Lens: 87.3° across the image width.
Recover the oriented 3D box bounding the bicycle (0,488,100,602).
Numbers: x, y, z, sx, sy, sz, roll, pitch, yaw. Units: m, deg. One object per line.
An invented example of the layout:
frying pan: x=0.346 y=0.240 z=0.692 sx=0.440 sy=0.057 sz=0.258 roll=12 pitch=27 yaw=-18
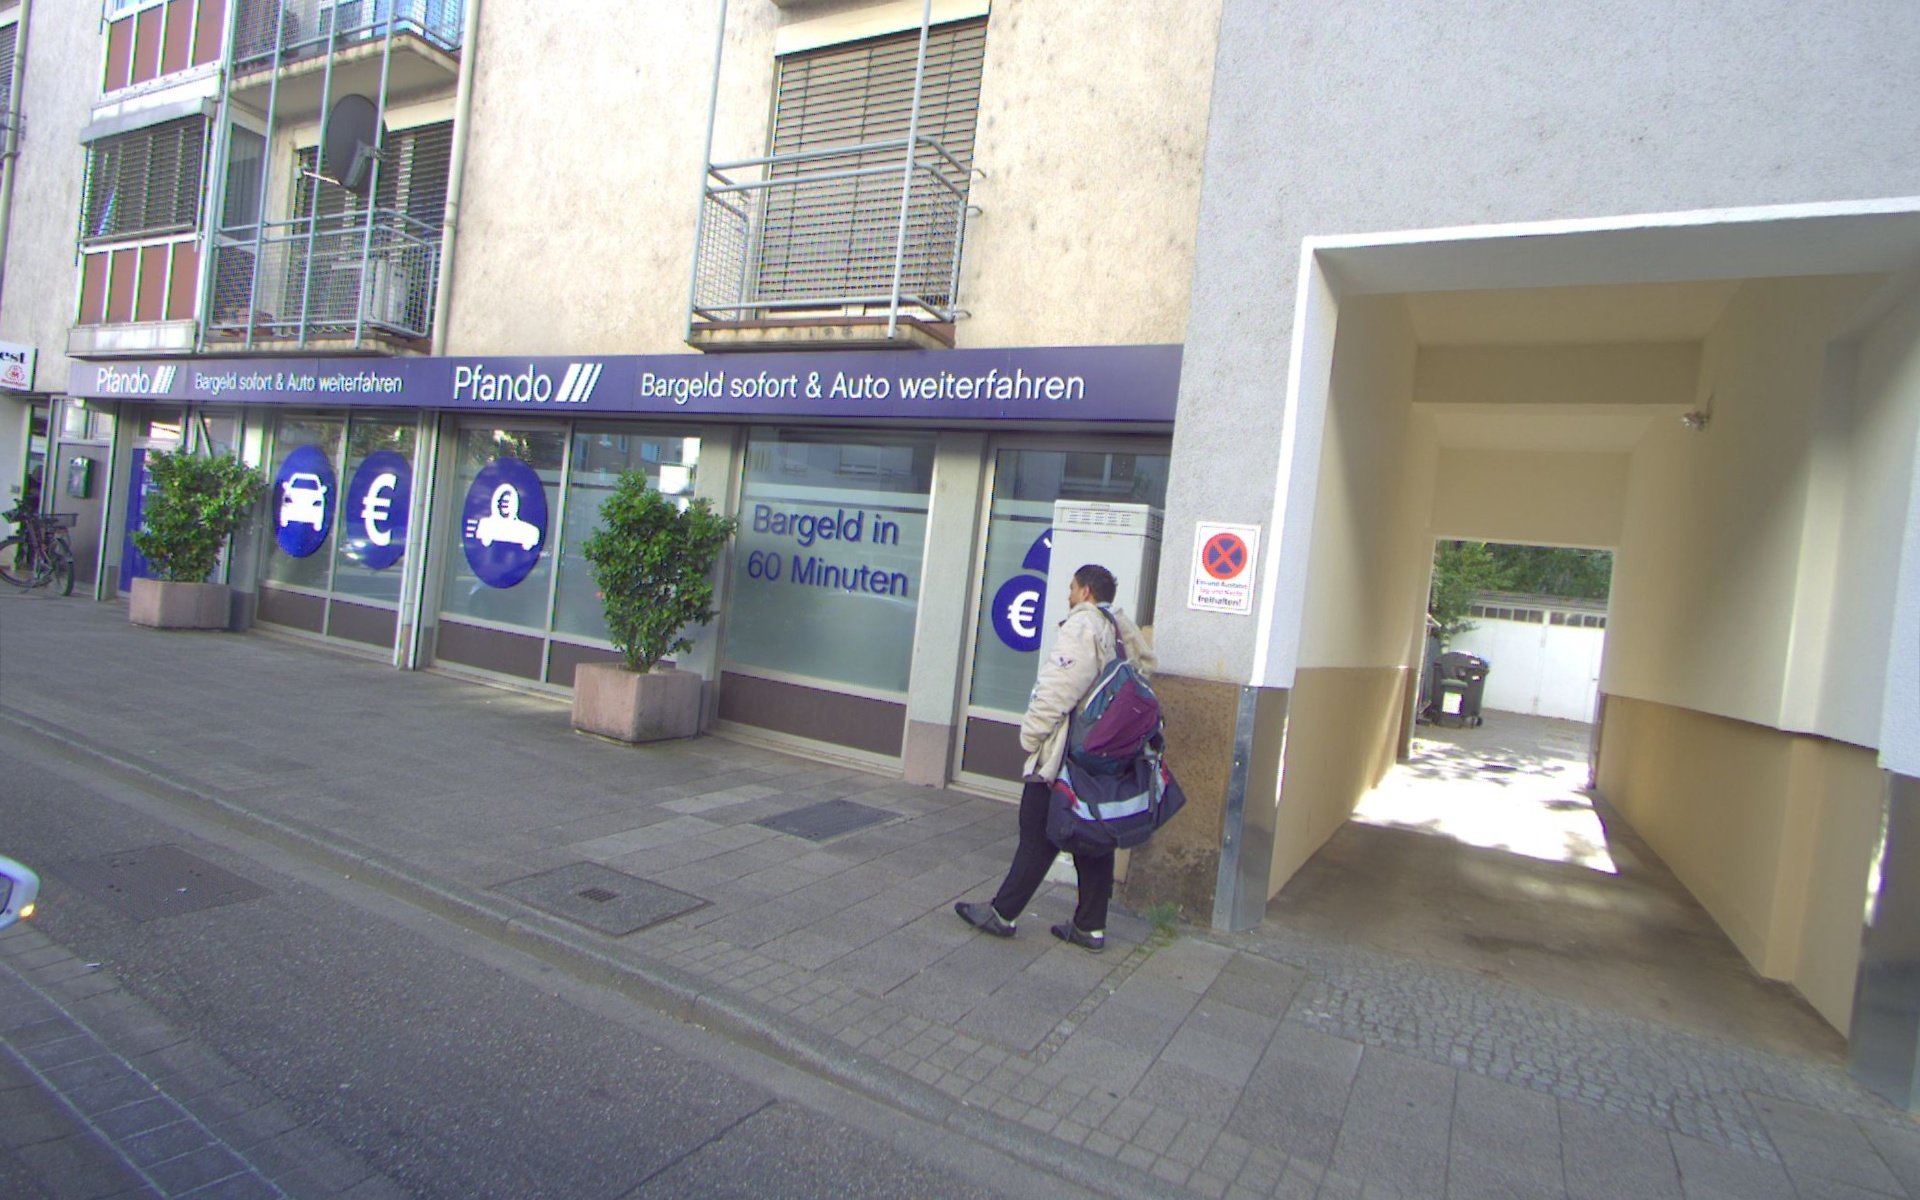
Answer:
bicycle: x=-11.837 y=-0.731 z=12.879 sx=1.879 sy=1.280 sz=0.640 roll=7 pitch=1 yaw=32

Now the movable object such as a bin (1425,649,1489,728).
movable object such as a bin: x=10.119 y=1.780 z=20.458 sx=0.945 sy=1.426 sz=1.598 roll=7 pitch=1 yaw=29

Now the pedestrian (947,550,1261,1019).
pedestrian: x=0.610 y=0.659 z=4.116 sx=0.853 sy=1.593 sz=0.874 roll=8 pitch=3 yaw=29

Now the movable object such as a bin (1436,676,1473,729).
movable object such as a bin: x=9.567 y=1.973 z=19.455 sx=0.518 sy=0.922 sz=0.580 roll=7 pitch=1 yaw=29
